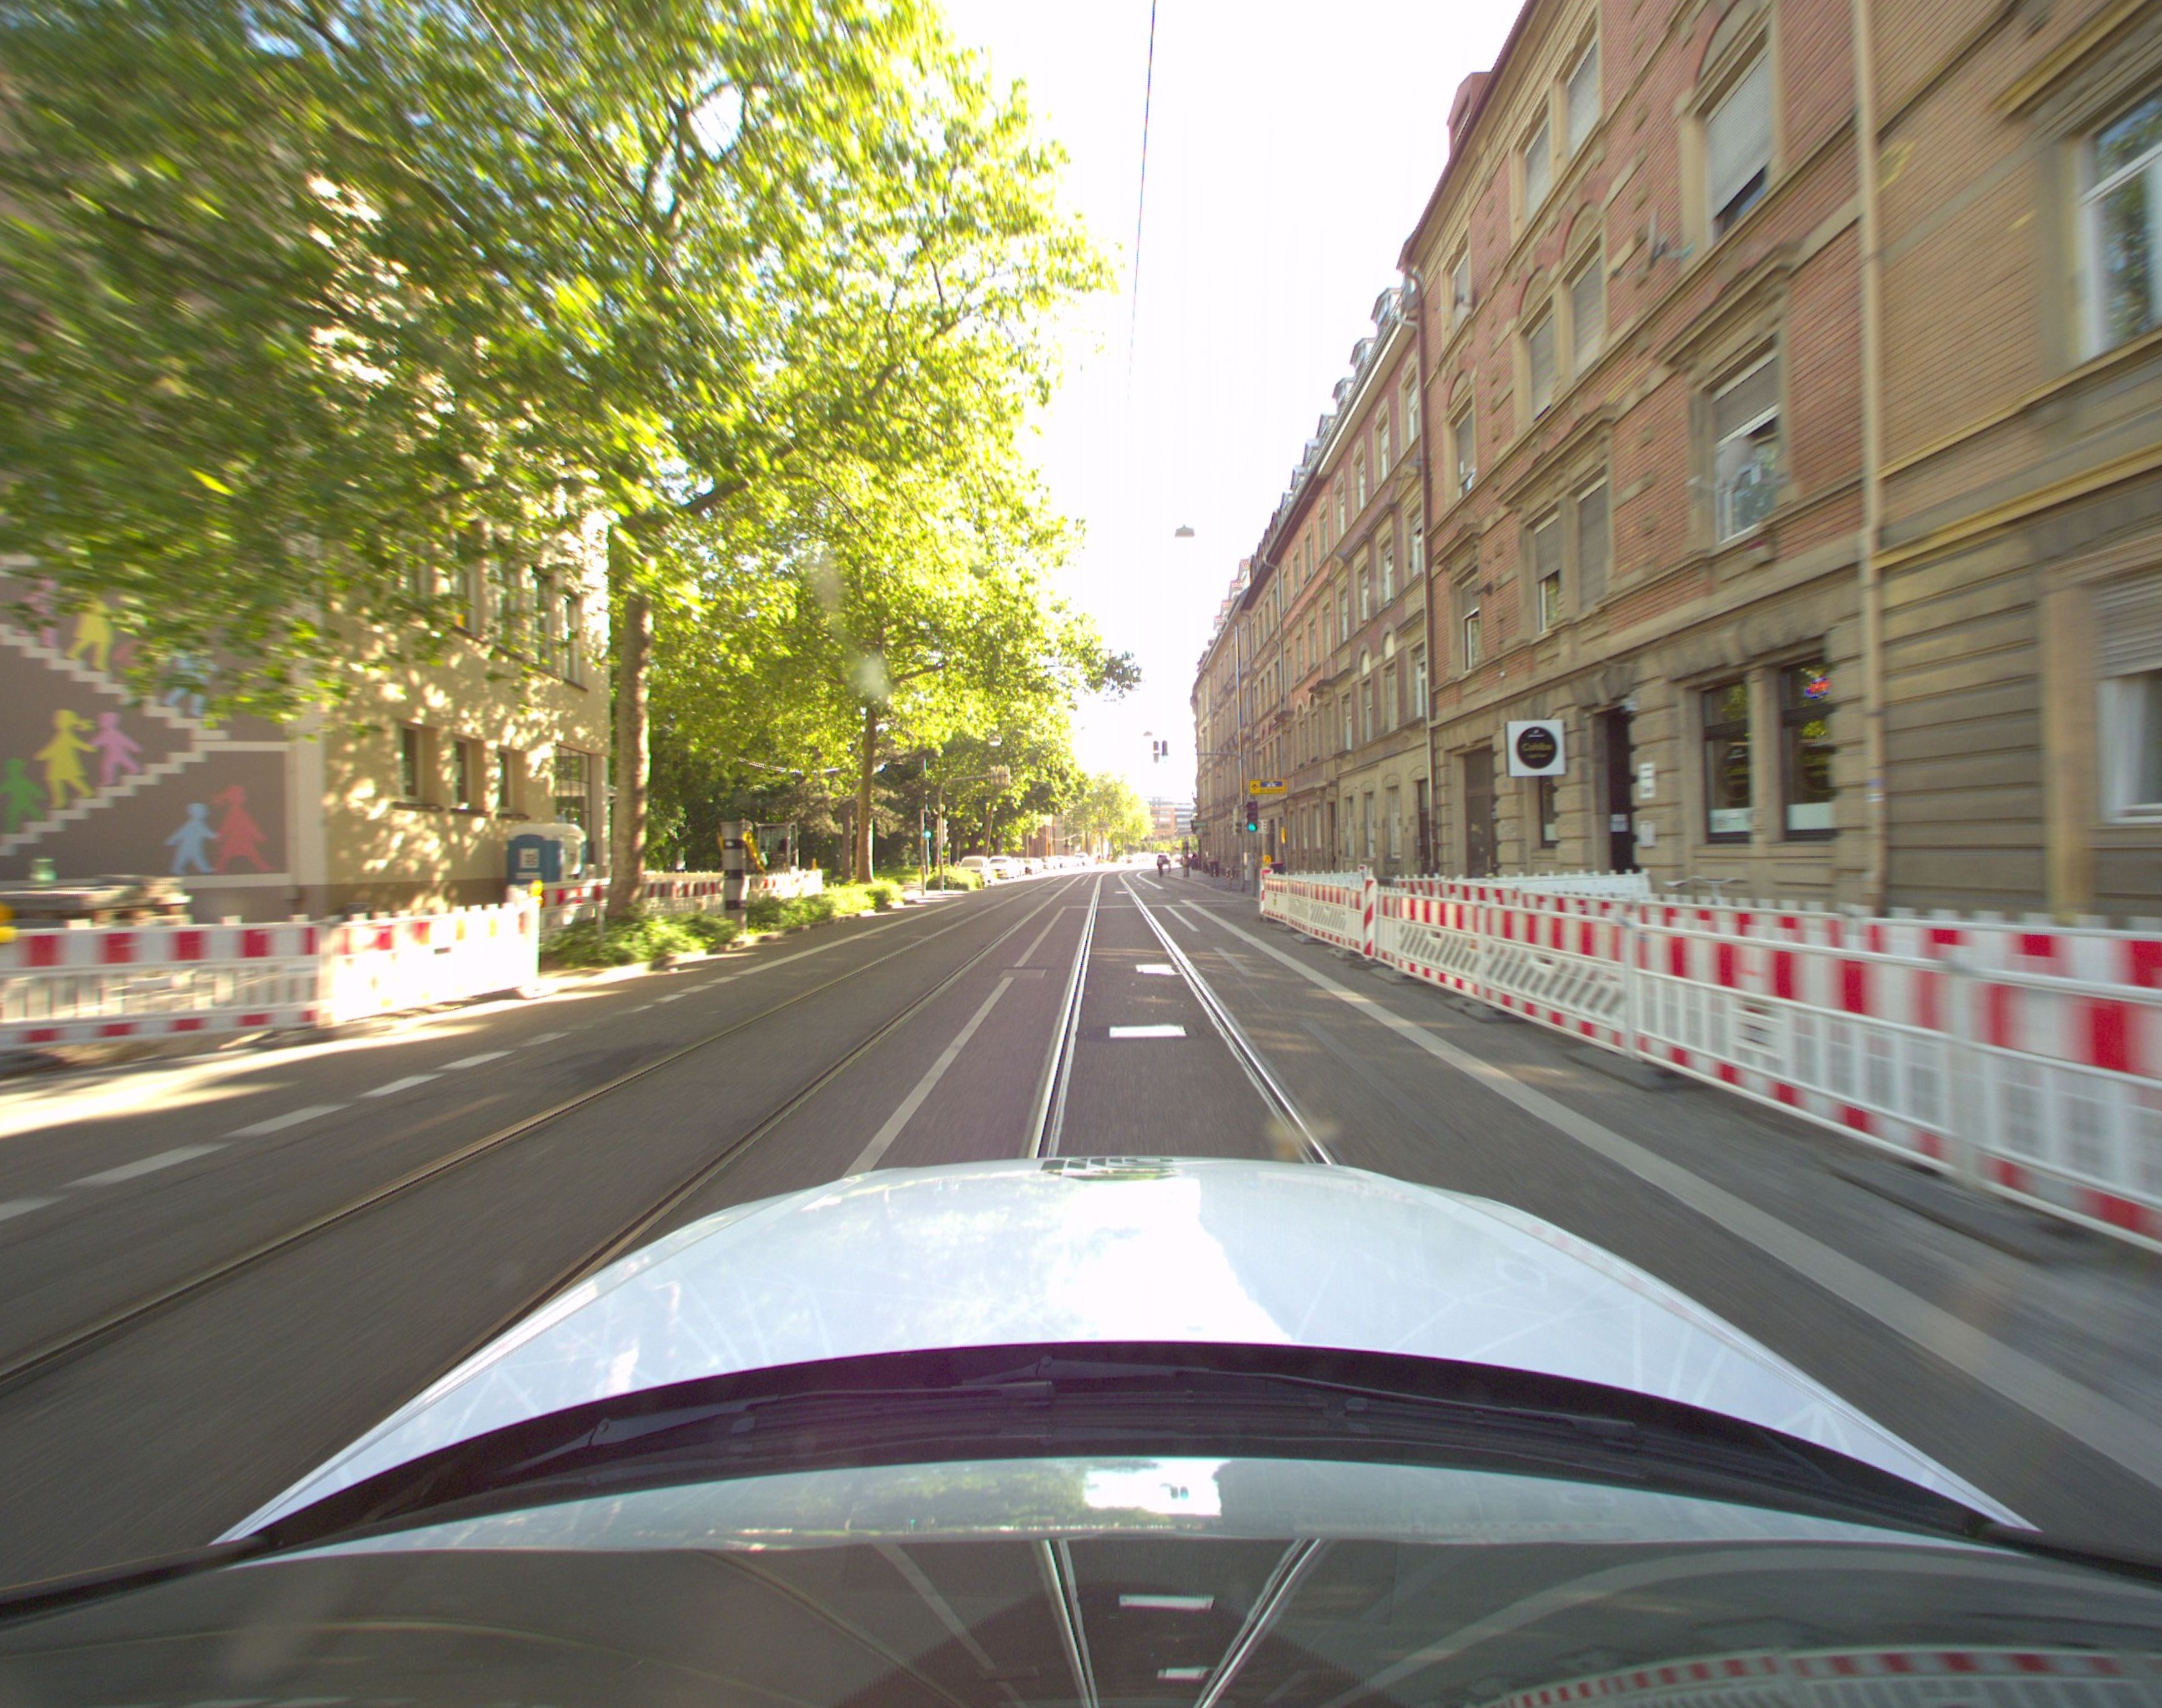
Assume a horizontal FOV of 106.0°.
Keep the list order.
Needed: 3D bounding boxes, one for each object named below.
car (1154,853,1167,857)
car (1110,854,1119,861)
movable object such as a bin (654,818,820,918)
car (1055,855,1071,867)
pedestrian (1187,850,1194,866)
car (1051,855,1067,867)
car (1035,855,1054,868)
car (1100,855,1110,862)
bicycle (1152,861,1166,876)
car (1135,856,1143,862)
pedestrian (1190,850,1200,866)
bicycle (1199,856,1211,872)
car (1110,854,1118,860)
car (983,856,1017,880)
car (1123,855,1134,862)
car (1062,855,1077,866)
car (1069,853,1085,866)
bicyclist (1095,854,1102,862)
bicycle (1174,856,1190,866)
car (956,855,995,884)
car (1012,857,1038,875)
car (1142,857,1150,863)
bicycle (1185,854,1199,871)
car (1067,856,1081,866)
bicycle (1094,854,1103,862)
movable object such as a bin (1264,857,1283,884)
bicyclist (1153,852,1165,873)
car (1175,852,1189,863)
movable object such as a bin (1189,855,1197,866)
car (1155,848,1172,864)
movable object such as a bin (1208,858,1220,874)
[{"bbox_3d":[25.159,0.297,258.721,4.004,1.422,1.760,0,-1,11],"label":"car"},{"bbox_3d":[7.211,0.778,176.731,1.739,1.422,4.050,0,-1,6],"label":"car"},{"bbox_3d":[-9.994,0.371,24.383,2.488,2.645,5.986,0,0,-1],"label":"movable object such as a bin"},{"bbox_3d":[-2.487,0.950,112.435,1.740,1.587,4.048,0,-1,4],"label":"car"},{"bbox_3d":[13.150,0.439,97.957,0.779,1.889,0.973,0,-1,9],"label":"pedestrian"},{"bbox_3d":[-2.900,0.910,107.568,1.740,1.587,4.048,0,-1,4],"label":"car"},{"bbox_3d":[-4.325,0.870,97.085,1.740,1.495,4.048,0,-1,4],"label":"car"},{"bbox_3d":[4.922,0.876,165.418,1.739,1.422,4.050,0,-1,6],"label":"car"},{"bbox_3d":[5.765,1.035,60.184,0.852,1.088,2.488,0,-1,2],"label":"bicycle"},{"bbox_3d":[13.307,1.153,186.348,1.739,1.422,4.050,0,-1,6],"label":"car"},{"bbox_3d":[13.314,0.479,94.937,1.051,1.760,1.333,0,-1,2],"label":"pedestrian"},{"bbox_3d":[9.040,0.741,59.379,0.637,1.118,2.298,0,-1,2],"label":"bicycle"},{"bbox_3d":[8.645,0.778,211.712,1.739,1.625,4.050,0,-1,6],"label":"car"},{"bbox_3d":[-5.782,0.989,58.529,1.740,1.608,4.048,0,-1,4],"label":"car"},{"bbox_3d":[9.100,0.900,155.617,1.739,1.422,4.050,0,-1,6],"label":"car"},{"bbox_3d":[-1.675,0.993,117.622,1.740,1.587,4.048,0,-1,4],"label":"car"},{"bbox_3d":[-0.615,0.816,127.841,2.049,2.052,4.048,0,-1,4],"label":"car"},{"bbox_3d":[3.210,0.649,147.862,1.071,1.427,1.149,0,-1,10],"label":"bicyclist"},{"bbox_3d":[11.113,0.762,89.696,0.633,1.118,2.312,-1,-1,38],"label":"bicycle"},{"bbox_3d":[-6.169,0.896,48.027,1.538,1.658,3.767,0,-1,4],"label":"car"},{"bbox_3d":[-5.068,1.079,74.137,1.740,1.509,4.048,0,-1,4],"label":"car"},{"bbox_3d":[15.747,1.520,197.987,1.739,1.422,4.050,0,-1,6],"label":"car"},{"bbox_3d":[10.109,0.791,74.078,0.964,1.515,3.258,0,-1,14],"label":"bicycle"},{"bbox_3d":[-1.048,1.035,122.804,1.740,1.587,4.048,0,-1,4],"label":"car"},{"bbox_3d":[3.219,0.738,147.895,1.227,1.572,2.904,0,-1,9],"label":"bicycle"},{"bbox_3d":[8.246,0.697,34.867,0.618,1.110,0.780,0,-1,-1],"label":"movable object such as a bin"},{"bbox_3d":[5.748,0.641,60.171,0.835,1.558,0.965,0,-1,1],"label":"bicyclist"},{"bbox_3d":[16.566,0.586,133.750,2.019,1.849,4.301,0,-1,3],"label":"car"},{"bbox_3d":[10.881,0.616,79.312,0.693,1.092,0.741,0,-1,-1],"label":"movable object such as a bin"},{"bbox_3d":[10.993,0.289,109.141,1.986,2.014,4.002,0,-1,2],"label":"car"},{"bbox_3d":[8.662,0.785,53.052,0.671,1.036,0.814,-2,1,2],"label":"movable object such as a bin"}]
